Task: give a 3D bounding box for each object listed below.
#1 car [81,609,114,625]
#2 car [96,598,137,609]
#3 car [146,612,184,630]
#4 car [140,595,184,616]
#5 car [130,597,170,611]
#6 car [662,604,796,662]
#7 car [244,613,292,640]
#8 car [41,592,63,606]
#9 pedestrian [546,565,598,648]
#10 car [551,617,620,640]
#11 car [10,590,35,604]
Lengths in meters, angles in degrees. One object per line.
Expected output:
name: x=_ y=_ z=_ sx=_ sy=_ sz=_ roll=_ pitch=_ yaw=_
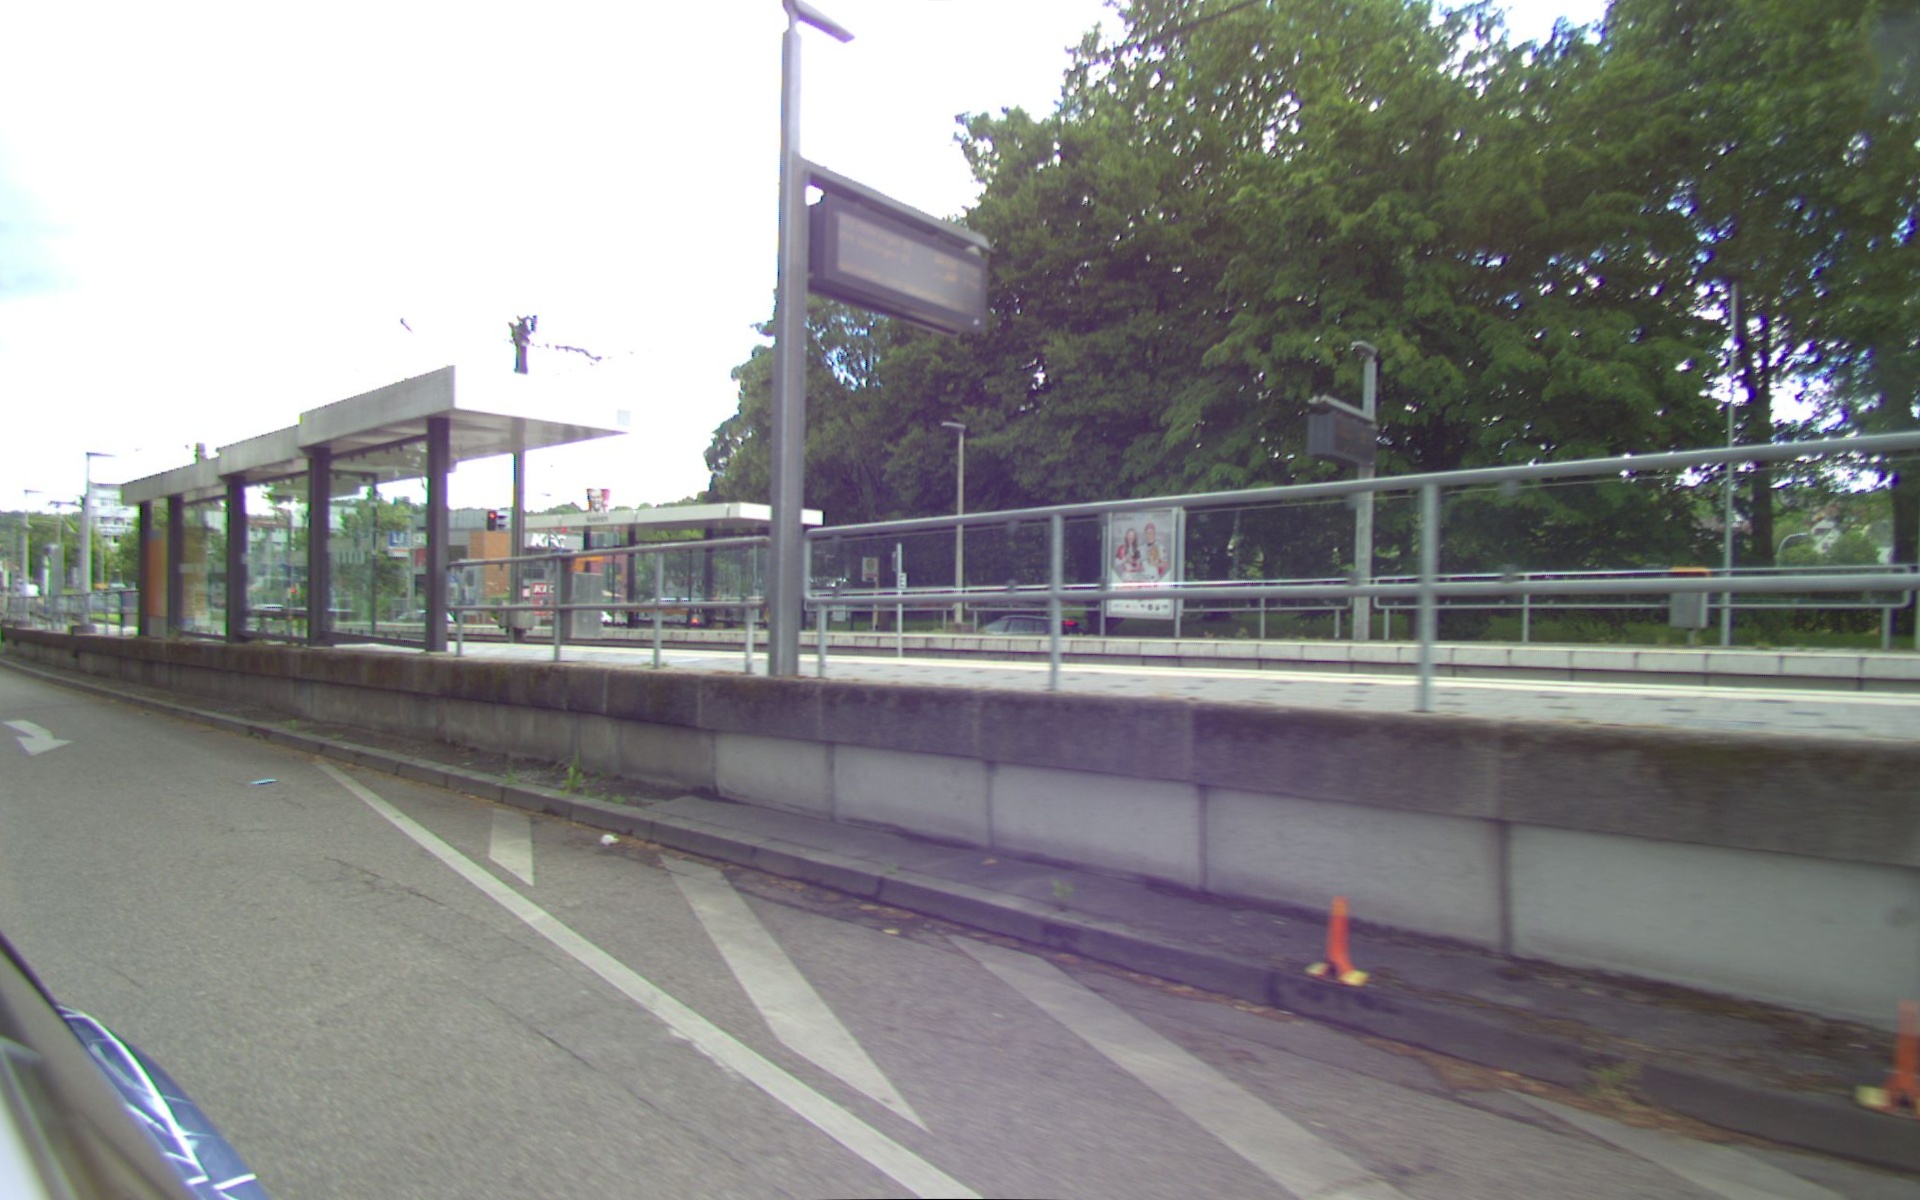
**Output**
car: x=-83.525 y=1.613 z=98.022 sx=4.048 sy=1.457 sz=1.579 roll=1 pitch=-2 yaw=38
car: x=-124.088 y=0.481 z=148.924 sx=4.546 sy=1.503 sz=2.002 roll=-2 pitch=2 yaw=-43
car: x=-70.649 y=1.850 z=89.925 sx=3.995 sy=1.457 sz=1.669 roll=1 pitch=-2 yaw=38
car: x=-109.390 y=0.802 z=138.805 sx=2.289 sy=2.769 sz=4.420 roll=1 pitch=-1 yaw=43
car: x=-116.513 y=0.564 z=145.577 sx=4.294 sy=1.933 sz=2.002 roll=-2 pitch=2 yaw=-43
car: x=-7.755 y=1.036 z=33.718 sx=4.621 sy=1.687 sz=1.973 roll=1 pitch=2 yaw=41
car: x=-49.305 y=1.862 z=72.075 sx=4.398 sy=1.764 sz=1.692 roll=1 pitch=-1 yaw=41
car: x=-139.482 y=-0.205 z=155.431 sx=4.104 sy=2.029 sz=1.973 roll=1 pitch=-1 yaw=40
pedestrian: x=-10.508 y=0.167 z=27.406 sx=0.976 sy=2.202 sz=0.959 roll=0 pitch=0 yaw=42
car: x=-24.618 y=1.870 z=66.530 sx=3.828 sy=1.418 sz=1.851 roll=1 pitch=-1 yaw=-38
car: x=-138.898 y=-0.410 z=149.876 sx=4.879 sy=2.029 sz=1.974 roll=1 pitch=-1 yaw=38
